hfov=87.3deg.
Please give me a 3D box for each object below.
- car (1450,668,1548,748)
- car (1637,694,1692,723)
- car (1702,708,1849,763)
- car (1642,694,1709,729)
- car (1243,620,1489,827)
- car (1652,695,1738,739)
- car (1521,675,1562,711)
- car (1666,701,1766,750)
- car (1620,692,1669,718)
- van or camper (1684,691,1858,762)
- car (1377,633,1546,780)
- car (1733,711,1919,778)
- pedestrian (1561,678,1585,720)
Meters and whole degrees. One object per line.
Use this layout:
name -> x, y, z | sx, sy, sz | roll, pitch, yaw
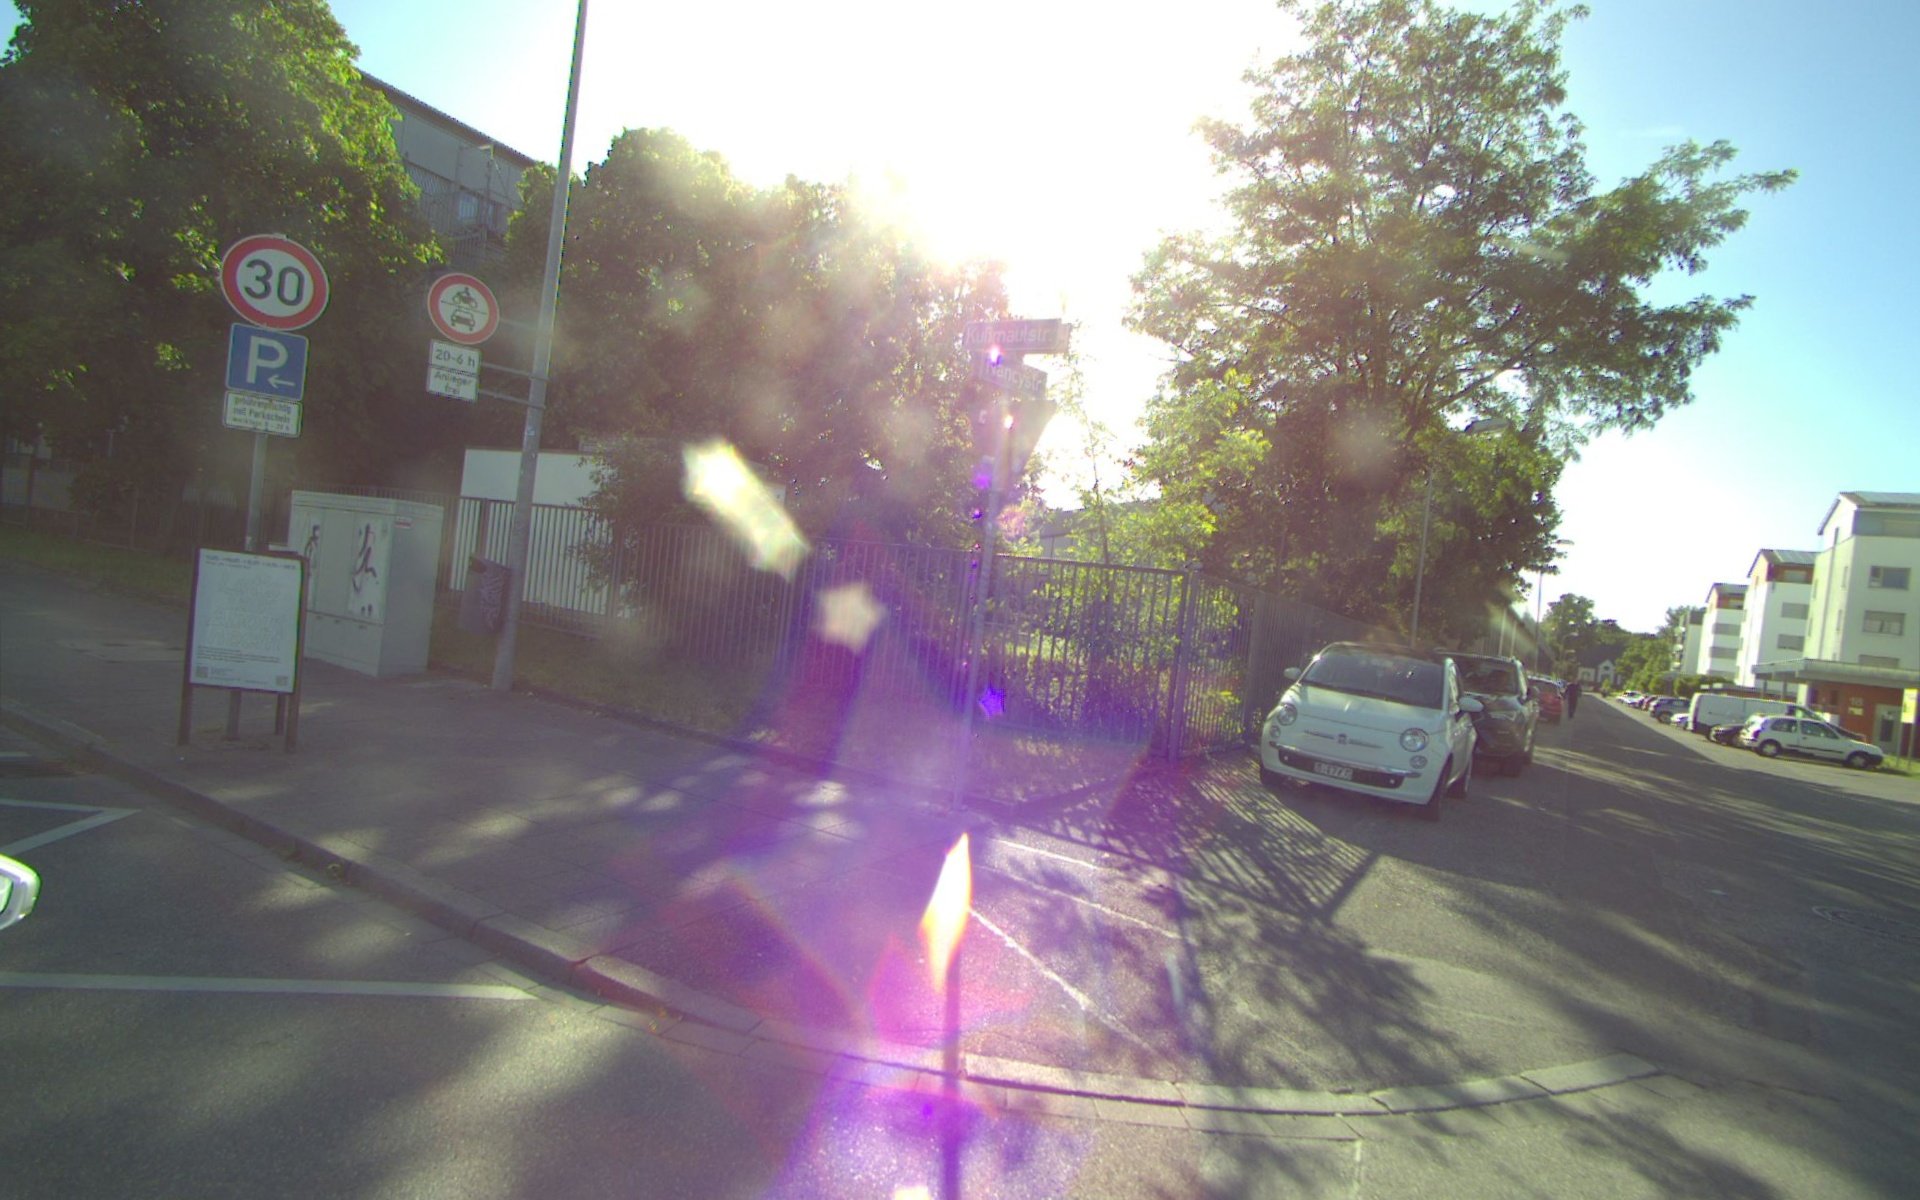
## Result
car -> 12.423, 2.424, 23.171 | 1.682, 1.454, 3.994 | 7, 0, 29
car -> 65.434, 10.045, 93.459 | 3.938, 2.039, 1.994 | 7, 0, 36
car -> 31.208, 5.161, 38.664 | 4.019, 1.366, 1.759 | 7, 0, 31
car -> 55.243, 8.567, 77.751 | 3.938, 2.039, 1.994 | 7, 0, 36
car -> 4.196, 1.130, 10.070 | 1.574, 1.504, 3.550 | 7, 0, 32
car -> 44.545, 7.063, 61.079 | 3.938, 2.039, 1.994 | 7, 0, 36
car -> 32.251, 5.124, 55.725 | 1.683, 1.689, 3.992 | 7, 0, 32
car -> 39.553, 6.523, 52.746 | 3.938, 1.883, 1.994 | 7, 0, 36
car -> 70.114, 10.764, 103.104 | 3.938, 2.039, 1.994 | 7, 0, 36
van or camper -> 33.270, 5.126, 41.502 | 5.210, 1.982, 1.995 | 7, 0, 34
car -> 7.555, 1.507, 14.936 | 1.726, 1.657, 4.157 | 7, 0, 32
car -> 29.210, 4.828, 34.036 | 4.524, 1.366, 1.996 | 7, 0, 31
pedestrian -> 25.499, 4.114, 41.829 | 0.657, 1.682, 0.486 | 7, 1, 31
